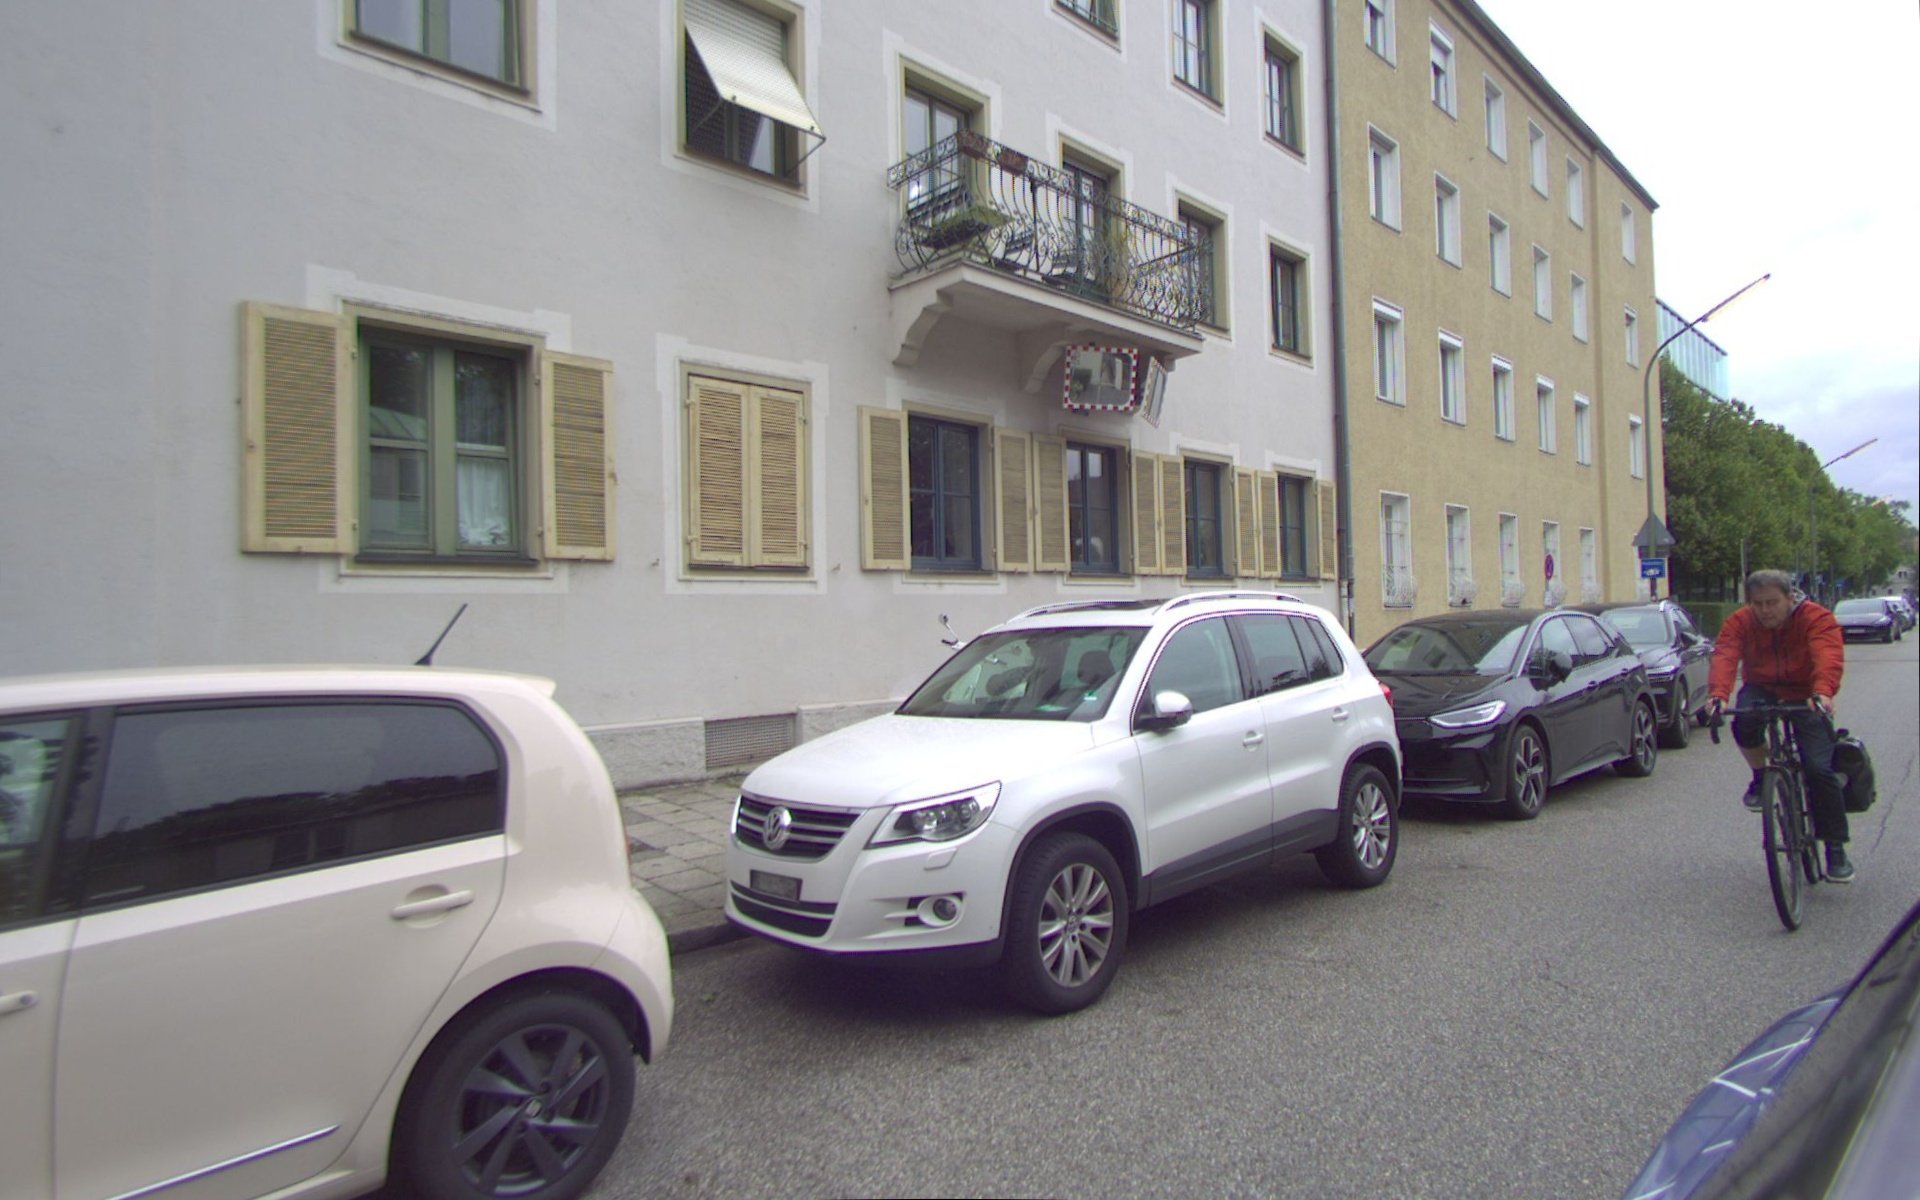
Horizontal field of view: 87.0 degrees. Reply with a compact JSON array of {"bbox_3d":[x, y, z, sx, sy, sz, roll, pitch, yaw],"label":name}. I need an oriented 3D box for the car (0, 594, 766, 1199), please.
[{"bbox_3d":[-2.561,0.874,2.465,3.646,1.567,1.772,-1,-6,-41],"label":"car"}]

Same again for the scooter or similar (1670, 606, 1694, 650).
[{"bbox_3d":[21.902,0.831,30.692,1.288,1.271,0.342,-1,0,-44],"label":"scooter or similar"}]

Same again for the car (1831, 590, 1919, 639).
[{"bbox_3d":[34.341,0.511,37.821,5.012,1.652,1.995,-1,-3,-42],"label":"car"}]

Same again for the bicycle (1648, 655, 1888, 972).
[{"bbox_3d":[4.024,0.902,4.972,0.672,1.156,1.979,-5,-3,44],"label":"bicycle"}]

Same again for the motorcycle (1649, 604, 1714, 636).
[{"bbox_3d":[27.225,0.735,38.203,0.696,1.147,1.896,0,1,-42],"label":"motorcycle"}]

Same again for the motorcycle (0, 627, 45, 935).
[{"bbox_3d":[-5.682,0.878,4.283,2.662,1.452,0.857,0,-2,-45],"label":"motorcycle"}]

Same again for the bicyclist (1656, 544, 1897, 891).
[{"bbox_3d":[4.042,0.521,5.002,0.754,1.502,0.966,-5,-3,44],"label":"bicyclist"}]

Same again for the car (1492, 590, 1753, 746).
[{"bbox_3d":[8.490,0.696,12.759,1.860,1.597,4.821,-2,-1,44],"label":"car"}]

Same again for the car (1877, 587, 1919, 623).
[{"bbox_3d":[52.781,0.267,56.637,4.499,1.920,1.785,0,-3,-44],"label":"car"}]

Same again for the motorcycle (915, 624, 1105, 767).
[{"bbox_3d":[0.542,0.916,10.284,1.974,1.255,0.732,-1,-3,-44],"label":"motorcycle"}]

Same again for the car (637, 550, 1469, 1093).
[{"bbox_3d":[0.808,0.755,5.513,4.458,1.729,1.995,0,-4,-43],"label":"car"}]

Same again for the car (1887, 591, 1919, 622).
[{"bbox_3d":[57.076,0.358,60.735,1.867,1.713,4.708,-5,-3,44],"label":"car"}]

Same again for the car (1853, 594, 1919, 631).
[{"bbox_3d":[40.862,0.527,44.579,1.993,1.479,4.878,-5,-3,44],"label":"car"}]

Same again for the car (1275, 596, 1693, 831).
[{"bbox_3d":[4.767,0.766,8.906,4.340,1.551,1.841,0,-1,-42],"label":"car"}]
